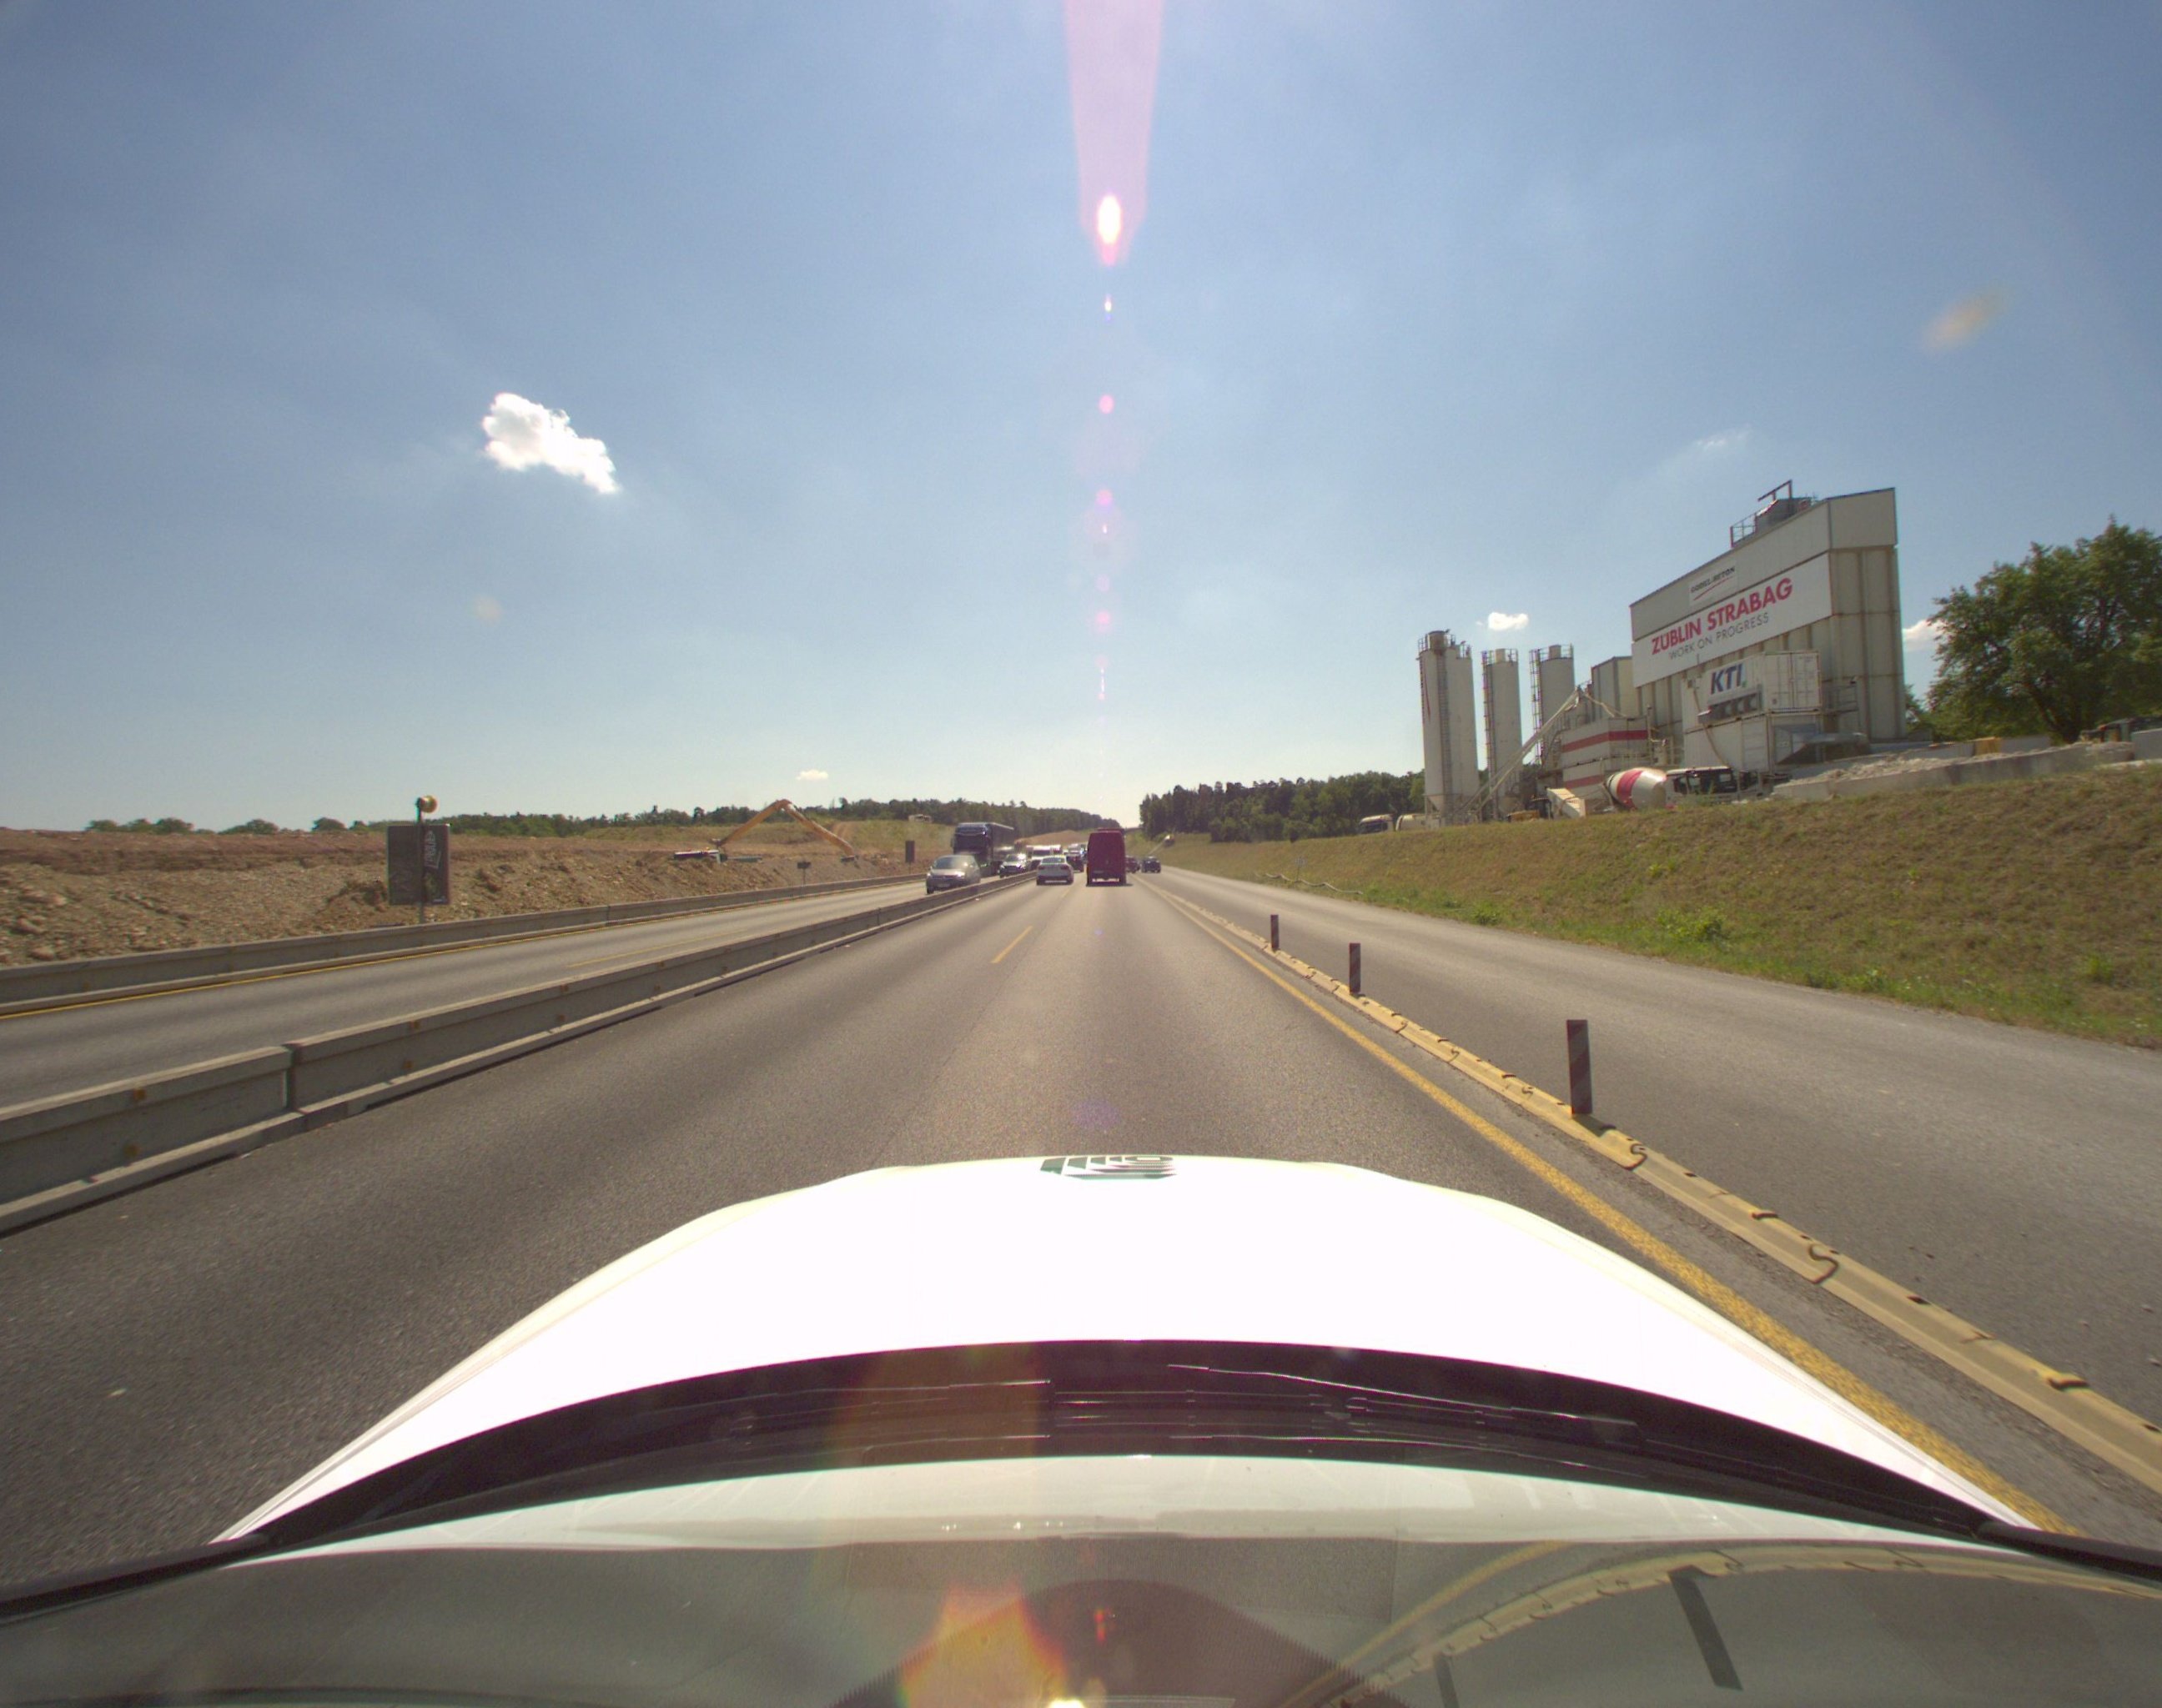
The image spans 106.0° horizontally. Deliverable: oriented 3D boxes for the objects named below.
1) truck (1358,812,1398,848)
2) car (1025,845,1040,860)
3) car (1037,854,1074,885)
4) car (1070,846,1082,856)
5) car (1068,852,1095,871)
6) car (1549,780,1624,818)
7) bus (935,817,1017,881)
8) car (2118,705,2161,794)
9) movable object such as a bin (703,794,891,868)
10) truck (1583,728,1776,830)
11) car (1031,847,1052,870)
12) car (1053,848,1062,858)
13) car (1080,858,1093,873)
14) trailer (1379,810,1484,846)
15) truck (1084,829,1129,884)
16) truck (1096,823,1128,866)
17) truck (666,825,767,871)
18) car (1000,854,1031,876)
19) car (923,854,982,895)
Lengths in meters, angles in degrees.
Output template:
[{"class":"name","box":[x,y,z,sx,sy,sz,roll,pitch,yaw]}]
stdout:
[{"class":"truck","box":[28.173,-2.212,77.029,2.869,3.113,6.047,-2,0,26]},{"class":"car","box":[-6.781,-0.146,113.961,1.757,2.013,3.828,-2,0,2]},{"class":"car","box":[-1.330,0.773,43.710,1.789,1.534,5.072,-1,0,0]},{"class":"car","box":[-0.974,-0.634,158.808,1.986,1.903,4.002,-2,0,2]},{"class":"car","box":[0.090,0.650,71.404,1.785,1.534,3.939,-2,0,7]},{"class":"car","box":[31.221,-3.354,50.452,1.986,2.013,4.429,-2,0,2]},{"class":"bus","box":[-8.112,-0.373,66.268,3.929,4.415,17.203,-2,0,1]},{"class":"car","box":[26.271,-2.503,17.278,2.215,2.013,4.995,-2,0,2]},{"class":"movable object such as a bin","box":[-30.255,-2.462,87.471,18.653,7.231,3.615,-2,0,-1]},{"class":"truck","box":[30.373,-3.541,42.136,3.418,4.296,9.944,-2,0,6]},{"class":"car","box":[-3.943,0.423,81.367,1.852,2.154,3.624,-2,0,-1]},{"class":"car","box":[-4.419,-0.214,153.435,1.718,1.829,3.557,-2,0,-1]},{"class":"car","box":[0.799,1.601,114.367,1.757,2.013,3.828,-2,0,2]},{"class":"trailer","box":[33.764,-2.487,78.522,9.006,3.229,3.316,-2,0,-13]},{"class":"truck","box":[1.450,0.121,42.801,2.102,2.633,6.490,-2,0,3]},{"class":"truck","box":[3.264,-0.922,84.354,3.003,4.153,8.277,-2,0,3]},{"class":"truck","box":[-22.972,-0.383,51.857,2.307,2.617,8.414,-2,0,2]},{"class":"car","box":[-4.480,0.736,56.186,1.716,1.346,3.627,-2,0,2]},{"class":"car","box":[-5.331,0.808,34.222,1.646,1.558,4.097,-2,0,2]}]
